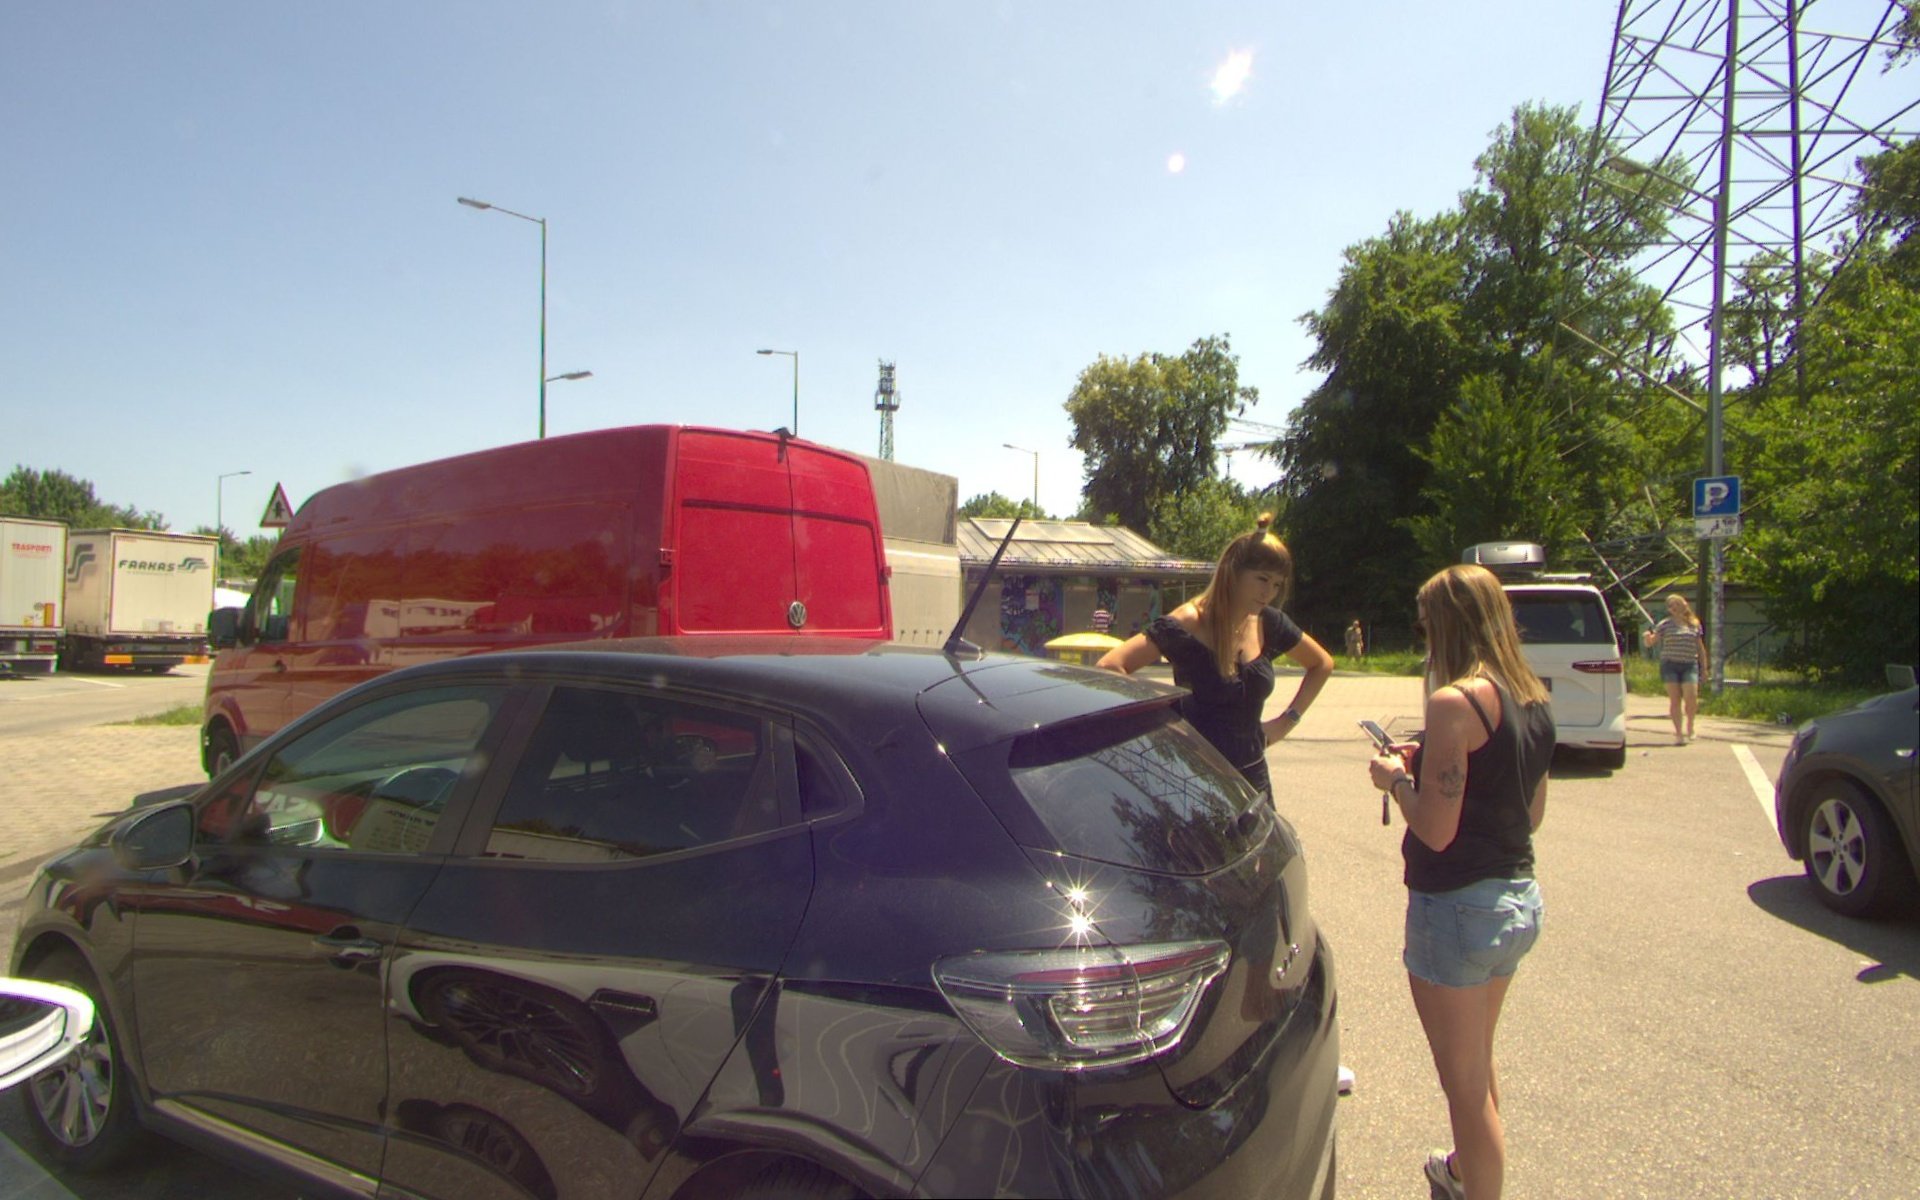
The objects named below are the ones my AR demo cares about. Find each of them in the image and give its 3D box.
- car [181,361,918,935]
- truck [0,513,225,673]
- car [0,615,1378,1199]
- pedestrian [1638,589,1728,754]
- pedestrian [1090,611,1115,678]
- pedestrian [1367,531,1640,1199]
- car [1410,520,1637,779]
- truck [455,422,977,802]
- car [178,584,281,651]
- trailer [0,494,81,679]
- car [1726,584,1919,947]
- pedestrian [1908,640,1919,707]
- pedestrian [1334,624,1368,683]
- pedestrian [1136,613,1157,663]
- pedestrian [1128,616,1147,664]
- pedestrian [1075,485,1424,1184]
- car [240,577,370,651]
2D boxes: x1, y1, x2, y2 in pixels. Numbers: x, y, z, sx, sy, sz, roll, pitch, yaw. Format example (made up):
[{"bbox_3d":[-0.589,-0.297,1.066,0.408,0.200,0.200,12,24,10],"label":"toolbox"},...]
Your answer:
[{"bbox_3d":[-3.391,0.250,7.336,6.298,2.668,1.988,0,-1,36],"label":"car"},{"bbox_3d":[-27.029,-0.021,31.153,11.800,4.279,2.582,-1,-2,32],"label":"truck"},{"bbox_3d":[-0.860,0.818,2.809,3.628,1.476,1.776,-1,-2,27],"label":"car"},{"bbox_3d":[8.733,0.844,12.130,0.765,1.903,0.836,-1,-1,30],"label":"pedestrian"},{"bbox_3d":[3.855,1.189,27.028,0.520,1.783,0.651,0,0,23],"label":"pedestrian"},{"bbox_3d":[1.208,0.682,2.255,0.478,1.615,0.501,0,0,29],"label":"pedestrian"},{"bbox_3d":[6.647,0.518,11.923,1.901,2.401,4.954,0,-1,29],"label":"car"},{"bbox_3d":[-2.496,0.173,9.933,4.751,2.863,2.514,-1,-2,34],"label":"truck"},{"bbox_3d":[-29.904,0.759,41.005,3.943,2.632,2.111,-1,-2,32],"label":"car"},{"bbox_3d":[-28.614,-0.335,27.874,12.642,4.511,2.677,0,-1,32],"label":"trailer"},{"bbox_3d":[5.153,0.740,3.672,1.803,1.638,4.168,1,-1,6],"label":"car"},{"bbox_3d":[17.143,1.284,17.418,0.694,1.178,0.787,-1,-1,22],"label":"pedestrian"},{"bbox_3d":[13.703,1.870,35.111,0.955,2.039,0.829,0,-1,10],"label":"pedestrian"},{"bbox_3d":[5.552,1.129,29.805,0.521,1.478,0.576,0,0,23],"label":"pedestrian"},{"bbox_3d":[5.051,1.126,28.531,0.439,1.362,0.477,0,0,23],"label":"pedestrian"},{"bbox_3d":[0.873,0.643,3.073,0.897,1.884,0.486,1,0,-18],"label":"pedestrian"},{"bbox_3d":[-29.433,0.604,44.922,6.259,3.115,2.495,0,-1,32],"label":"car"}]
